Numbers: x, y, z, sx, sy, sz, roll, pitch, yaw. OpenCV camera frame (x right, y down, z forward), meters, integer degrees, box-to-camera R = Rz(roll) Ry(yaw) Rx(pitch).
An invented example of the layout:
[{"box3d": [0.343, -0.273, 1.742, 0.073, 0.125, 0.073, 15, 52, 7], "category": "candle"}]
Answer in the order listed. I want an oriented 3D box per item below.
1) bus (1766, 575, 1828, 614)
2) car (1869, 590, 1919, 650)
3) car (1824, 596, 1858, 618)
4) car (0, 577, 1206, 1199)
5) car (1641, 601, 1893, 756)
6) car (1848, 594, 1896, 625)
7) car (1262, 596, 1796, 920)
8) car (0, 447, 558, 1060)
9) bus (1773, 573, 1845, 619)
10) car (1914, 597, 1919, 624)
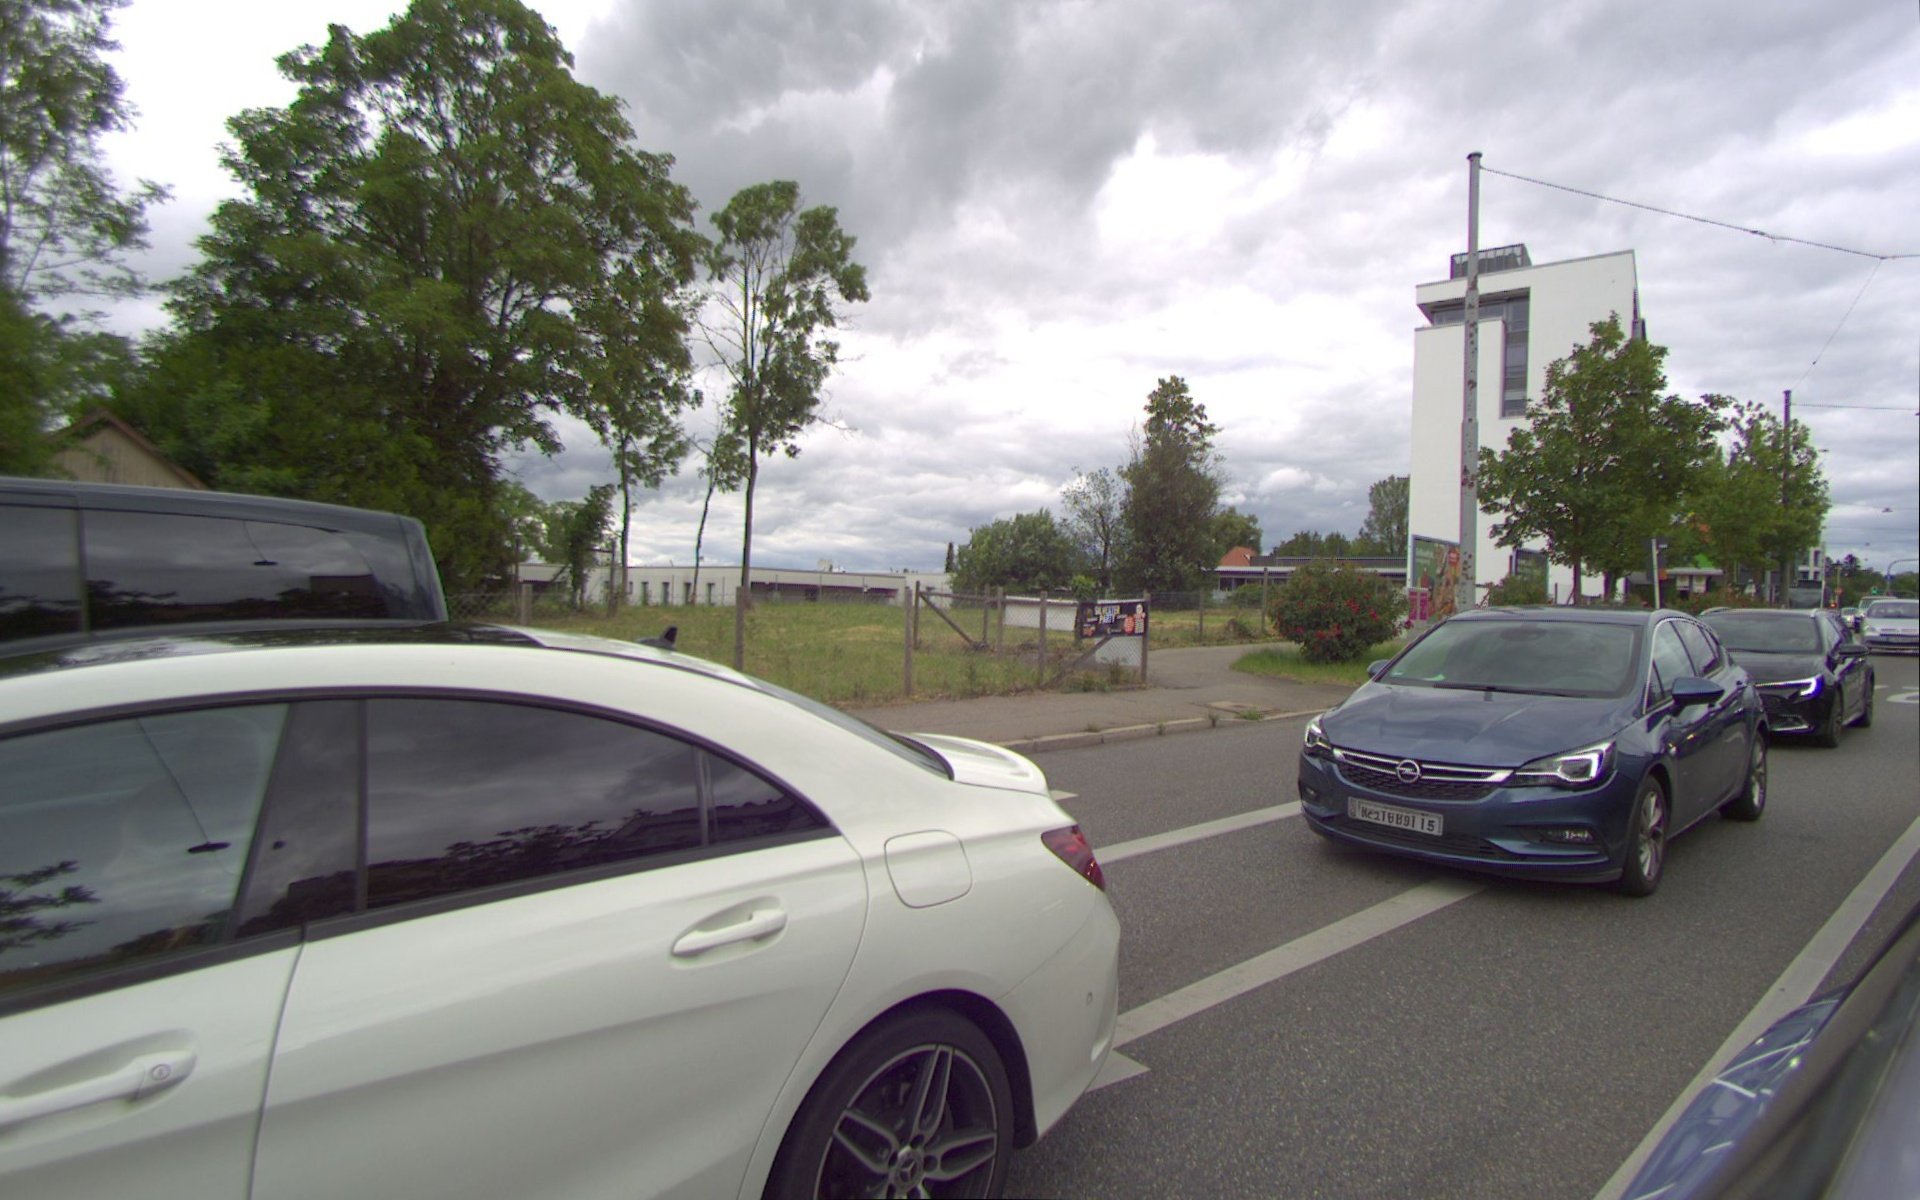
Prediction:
[{"box3d": [61.425, -0.445, 74.464, 2.952, 2.664, 12.751, 0, 1, 37], "category": "bus"}, {"box3d": [27.933, 0.550, 29.387, 3.717, 1.637, 1.849, 0, -1, -41], "category": "car"}, {"box3d": [70.351, 0.554, 80.849, 1.992, 1.621, 3.941, 2, 2, 41], "category": "car"}, {"box3d": [-1.539, 0.696, 1.810, 4.300, 1.451, 1.652, 0, 1, -41], "category": "car"}, {"box3d": [9.382, 0.753, 11.664, 3.854, 1.475, 1.663, 0, 0, -42], "category": "car"}, {"box3d": [58.743, 0.596, 65.257, 1.990, 1.844, 3.945, 2, 2, 38], "category": "car"}, {"box3d": [3.808, 0.691, 6.477, 3.931, 1.428, 1.825, 0, 0, -42], "category": "car"}, {"box3d": [-4.034, 0.473, 3.406, 4.627, 1.863, 1.952, 0, -1, -41], "category": "car"}, {"box3d": [53.957, -0.311, 64.565, 2.952, 2.664, 11.986, 0, 1, 37], "category": "bus"}, {"box3d": [63.052, 0.655, 65.229, 1.991, 1.705, 3.941, -2, -1, 41], "category": "car"}]
